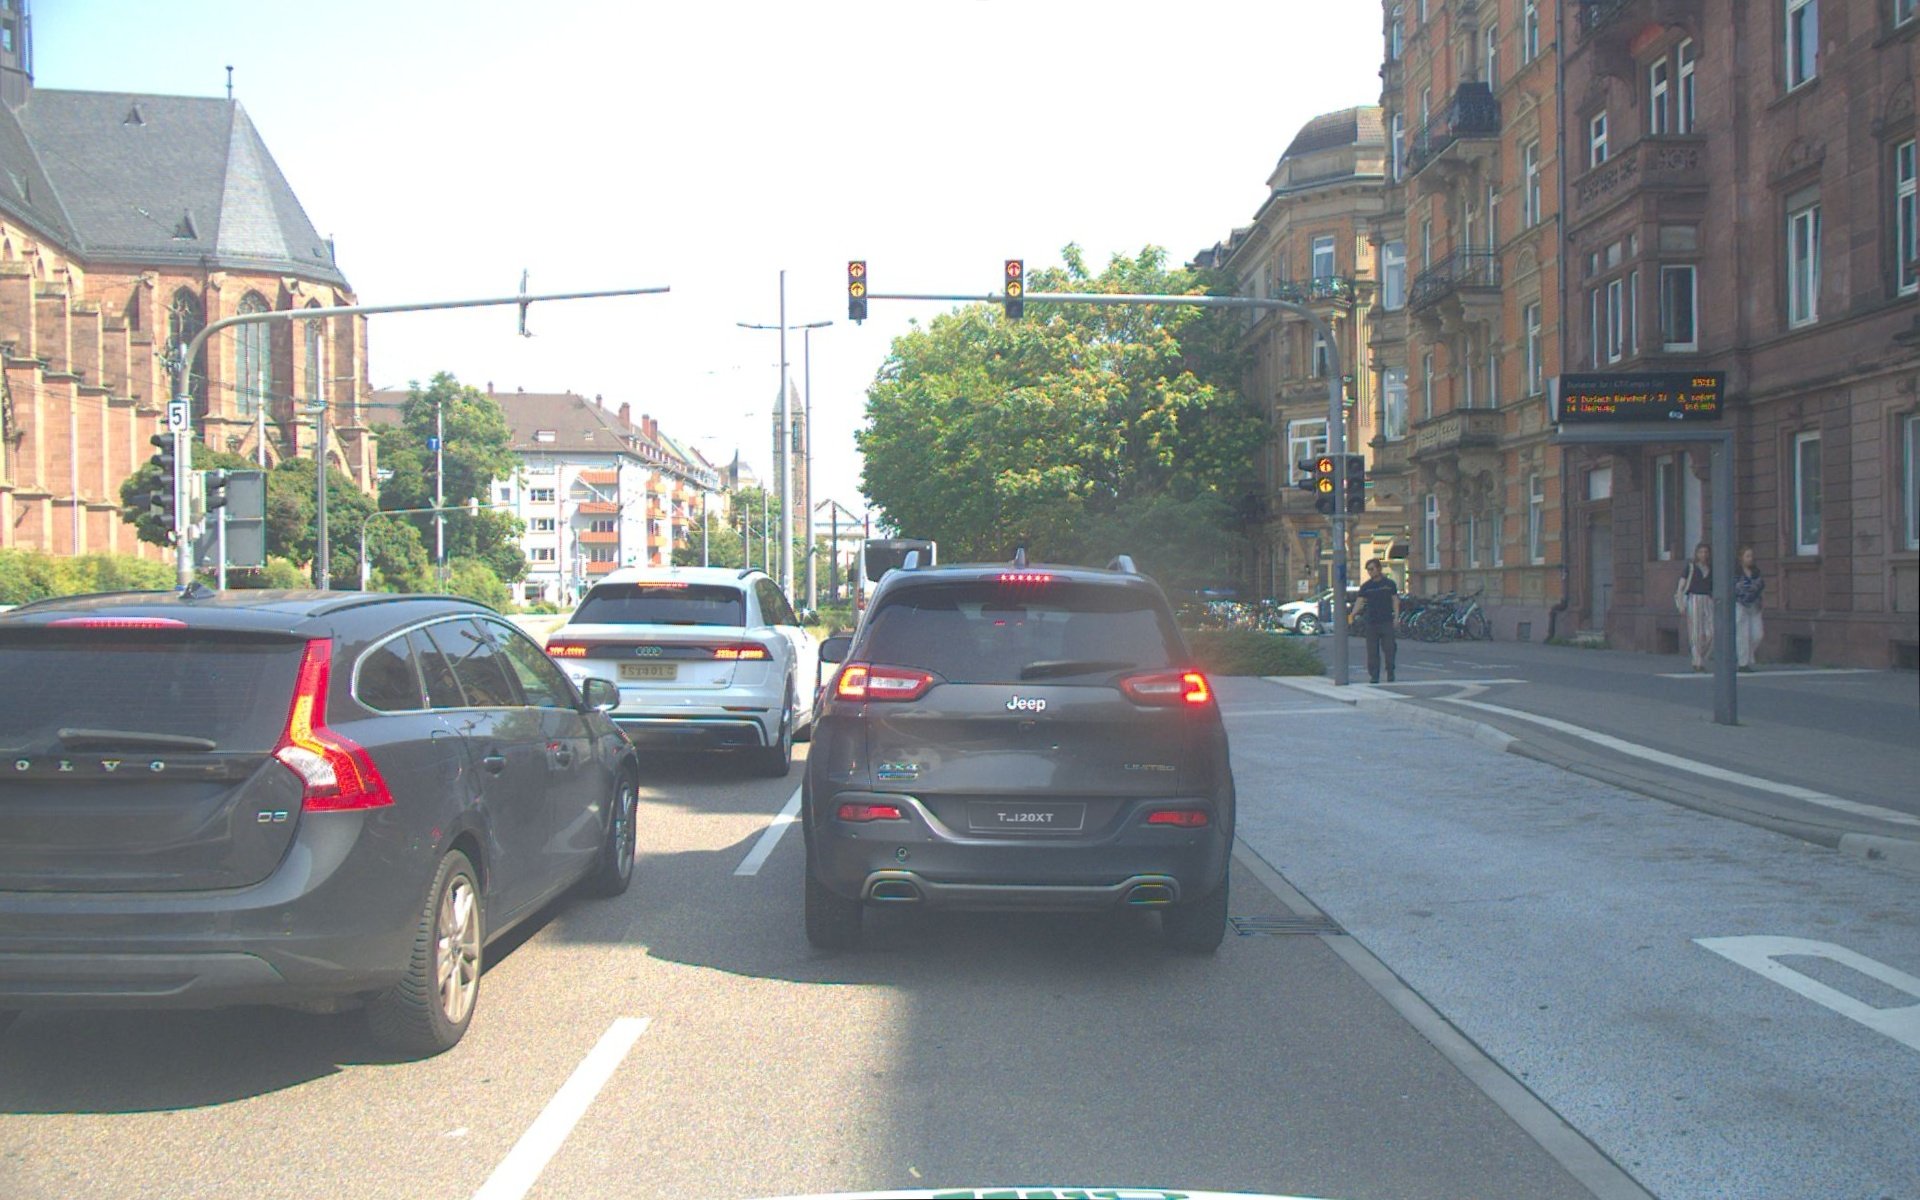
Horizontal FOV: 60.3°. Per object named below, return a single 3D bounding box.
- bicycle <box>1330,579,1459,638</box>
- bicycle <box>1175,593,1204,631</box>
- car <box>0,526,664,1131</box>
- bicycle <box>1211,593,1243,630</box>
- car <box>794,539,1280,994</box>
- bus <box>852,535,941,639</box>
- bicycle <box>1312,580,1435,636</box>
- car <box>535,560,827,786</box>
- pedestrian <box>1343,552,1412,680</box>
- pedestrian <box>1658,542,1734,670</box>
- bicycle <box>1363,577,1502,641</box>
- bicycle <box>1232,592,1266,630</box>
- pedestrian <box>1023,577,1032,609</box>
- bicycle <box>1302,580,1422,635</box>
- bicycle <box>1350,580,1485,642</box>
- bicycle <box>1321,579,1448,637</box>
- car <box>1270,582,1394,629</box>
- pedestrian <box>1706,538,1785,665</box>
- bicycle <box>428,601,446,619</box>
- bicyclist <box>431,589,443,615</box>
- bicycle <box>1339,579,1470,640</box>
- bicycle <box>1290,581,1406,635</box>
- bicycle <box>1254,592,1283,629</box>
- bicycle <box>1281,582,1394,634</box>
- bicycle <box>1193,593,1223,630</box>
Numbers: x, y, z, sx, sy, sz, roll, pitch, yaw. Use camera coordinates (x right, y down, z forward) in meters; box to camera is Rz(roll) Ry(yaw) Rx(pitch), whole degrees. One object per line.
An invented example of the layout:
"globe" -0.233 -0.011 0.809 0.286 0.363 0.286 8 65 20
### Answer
"bicycle" 10.736 0.201 40.925 2.933 1.395 0.871 -1 0 -2
"bicycle" 8.123 0.411 58.591 0.636 1.275 3.014 -1 0 1
"car" -2.420 0.608 6.659 1.712 1.642 4.308 1 0 -1
"bicycle" 9.456 0.387 58.586 0.717 1.275 3.014 -1 0 2
"car" 0.302 0.606 8.329 1.795 1.680 4.308 1 0 0
"bus" -2.332 -0.400 57.546 2.689 3.161 11.947 2 0 -4
"bicycle" 10.719 0.203 42.963 2.943 1.397 0.947 -1 0 -2
"car" -2.253 0.525 14.471 1.863 1.680 4.308 0 1 -1
"pedestrian" 5.984 0.229 23.671 0.879 1.771 0.769 -2 0 15
"pedestrian" 10.671 0.083 24.001 0.700 1.807 0.847 -1 0 -2
"bicycle" 10.882 0.197 38.160 2.933 1.395 0.871 -1 0 -2
"bicycle" 10.229 0.374 58.612 0.747 1.275 3.014 -1 0 2
"pedestrian" 4.441 -0.470 108.354 0.518 2.049 0.532 -1 0 -3
"bicycle" 10.667 0.200 43.973 2.943 1.397 0.947 -1 0 -2
"bicycle" 10.779 0.259 39.065 2.933 1.395 0.871 -1 0 -2
"bicycle" 10.723 0.205 41.868 2.943 1.397 0.947 -1 0 -2
"car" 12.943 0.183 57.671 3.858 1.547 1.680 -1 0 -8
"pedestrian" 11.399 0.022 24.023 0.700 1.809 0.870 -1 0 -2
"bicycle" -27.451 0.520 86.830 0.444 0.874 1.476 -1 0 1
"bicyclist" -27.455 0.100 86.822 0.439 1.344 0.425 -1 0 0
"bicycle" 10.727 0.217 39.977 2.933 1.395 0.871 -1 0 -2
"bicycle" 10.611 0.212 45.289 2.943 1.397 0.947 -1 0 -2
"bicycle" 11.011 0.357 59.058 0.644 1.271 2.413 -1 0 2
"bicycle" 10.557 0.215 46.330 2.943 1.397 0.947 -1 0 -2
"bicycle" 8.771 0.397 58.577 0.636 1.275 3.014 -1 0 1
